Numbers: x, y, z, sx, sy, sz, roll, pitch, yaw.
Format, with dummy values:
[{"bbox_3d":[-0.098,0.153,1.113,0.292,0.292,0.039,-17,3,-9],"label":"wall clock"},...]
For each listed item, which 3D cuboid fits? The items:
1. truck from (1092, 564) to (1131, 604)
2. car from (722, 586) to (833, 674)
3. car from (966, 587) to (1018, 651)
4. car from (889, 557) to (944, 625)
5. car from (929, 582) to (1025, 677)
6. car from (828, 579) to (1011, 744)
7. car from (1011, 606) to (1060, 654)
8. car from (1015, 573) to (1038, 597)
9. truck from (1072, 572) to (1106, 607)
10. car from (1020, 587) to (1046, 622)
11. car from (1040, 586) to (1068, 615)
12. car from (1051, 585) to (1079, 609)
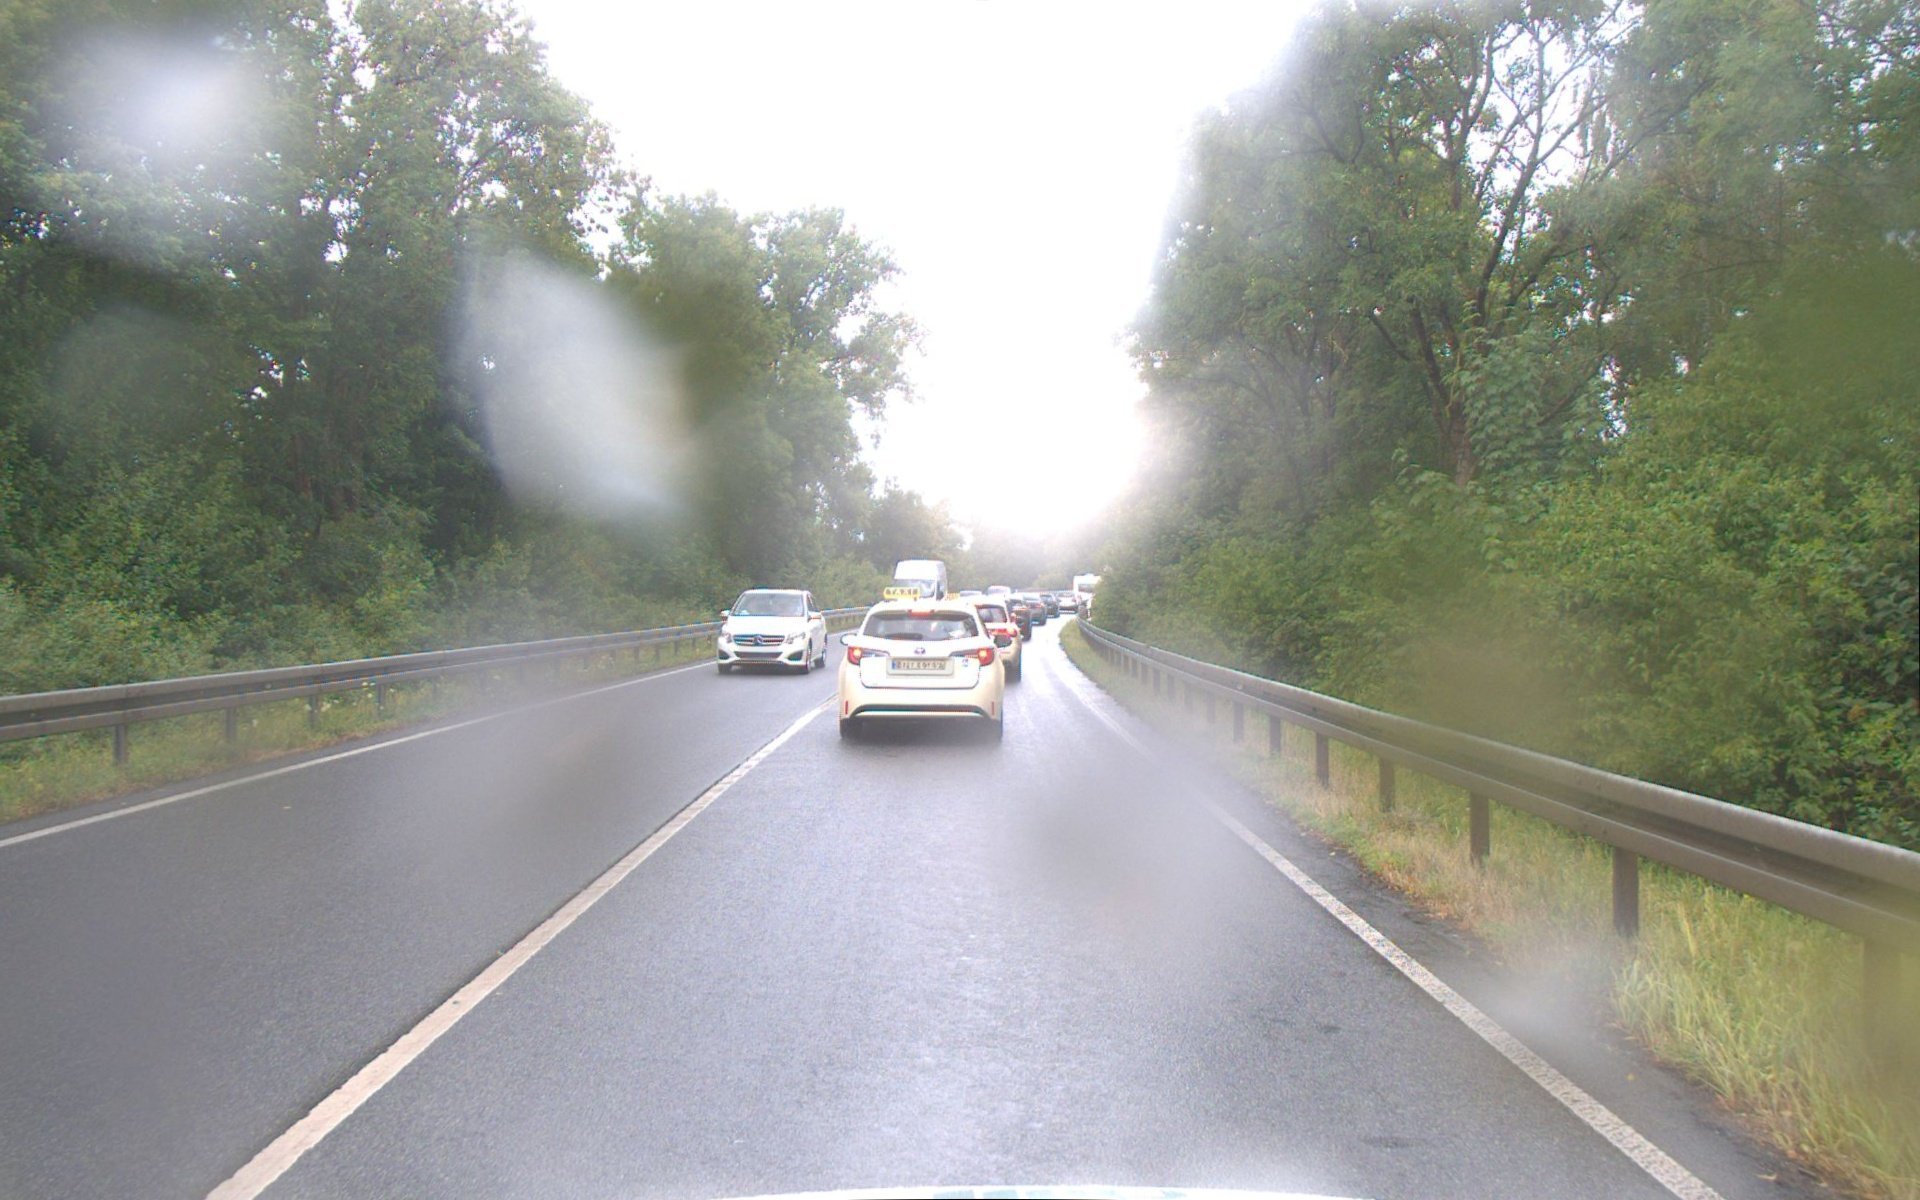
[{"bbox_3d":[15.090,-1.570,164.739,3.041,3.745,7.006,1,-1,12],"label":"truck"},{"bbox_3d":[-3.534,0.540,32.726,1.657,1.583,4.442,1,0,0],"label":"car"},{"bbox_3d":[0.806,0.483,42.462,1.274,1.574,3.260,1,-1,1],"label":"car"},{"bbox_3d":[-1.787,-0.324,69.300,2.005,2.723,6.172,0,-1,1],"label":"car"},{"bbox_3d":[0.359,0.529,30.627,1.633,1.608,3.893,1,-1,2],"label":"car"},{"bbox_3d":[-0.401,0.628,18.531,1.796,1.608,4.156,1,-1,0],"label":"car"},{"bbox_3d":[2.549,1.009,56.271,1.578,1.574,3.814,0,-1,2],"label":"car"},{"bbox_3d":[5.885,-1.284,146.383,1.952,2.049,4.001,1,-1,3],"label":"car"},{"bbox_3d":[10.699,-0.829,137.373,2.496,2.760,7.537,1,-1,2],"label":"truck"},{"bbox_3d":[3.420,0.214,77.325,1.142,1.574,2.605,1,-1,4],"label":"car"},{"bbox_3d":[5.449,0.055,95.736,1.582,1.641,3.623,1,-1,4],"label":"car"},{"bbox_3d":[7.315,-0.181,114.713,1.732,1.574,3.816,1,-1,6],"label":"car"}]
